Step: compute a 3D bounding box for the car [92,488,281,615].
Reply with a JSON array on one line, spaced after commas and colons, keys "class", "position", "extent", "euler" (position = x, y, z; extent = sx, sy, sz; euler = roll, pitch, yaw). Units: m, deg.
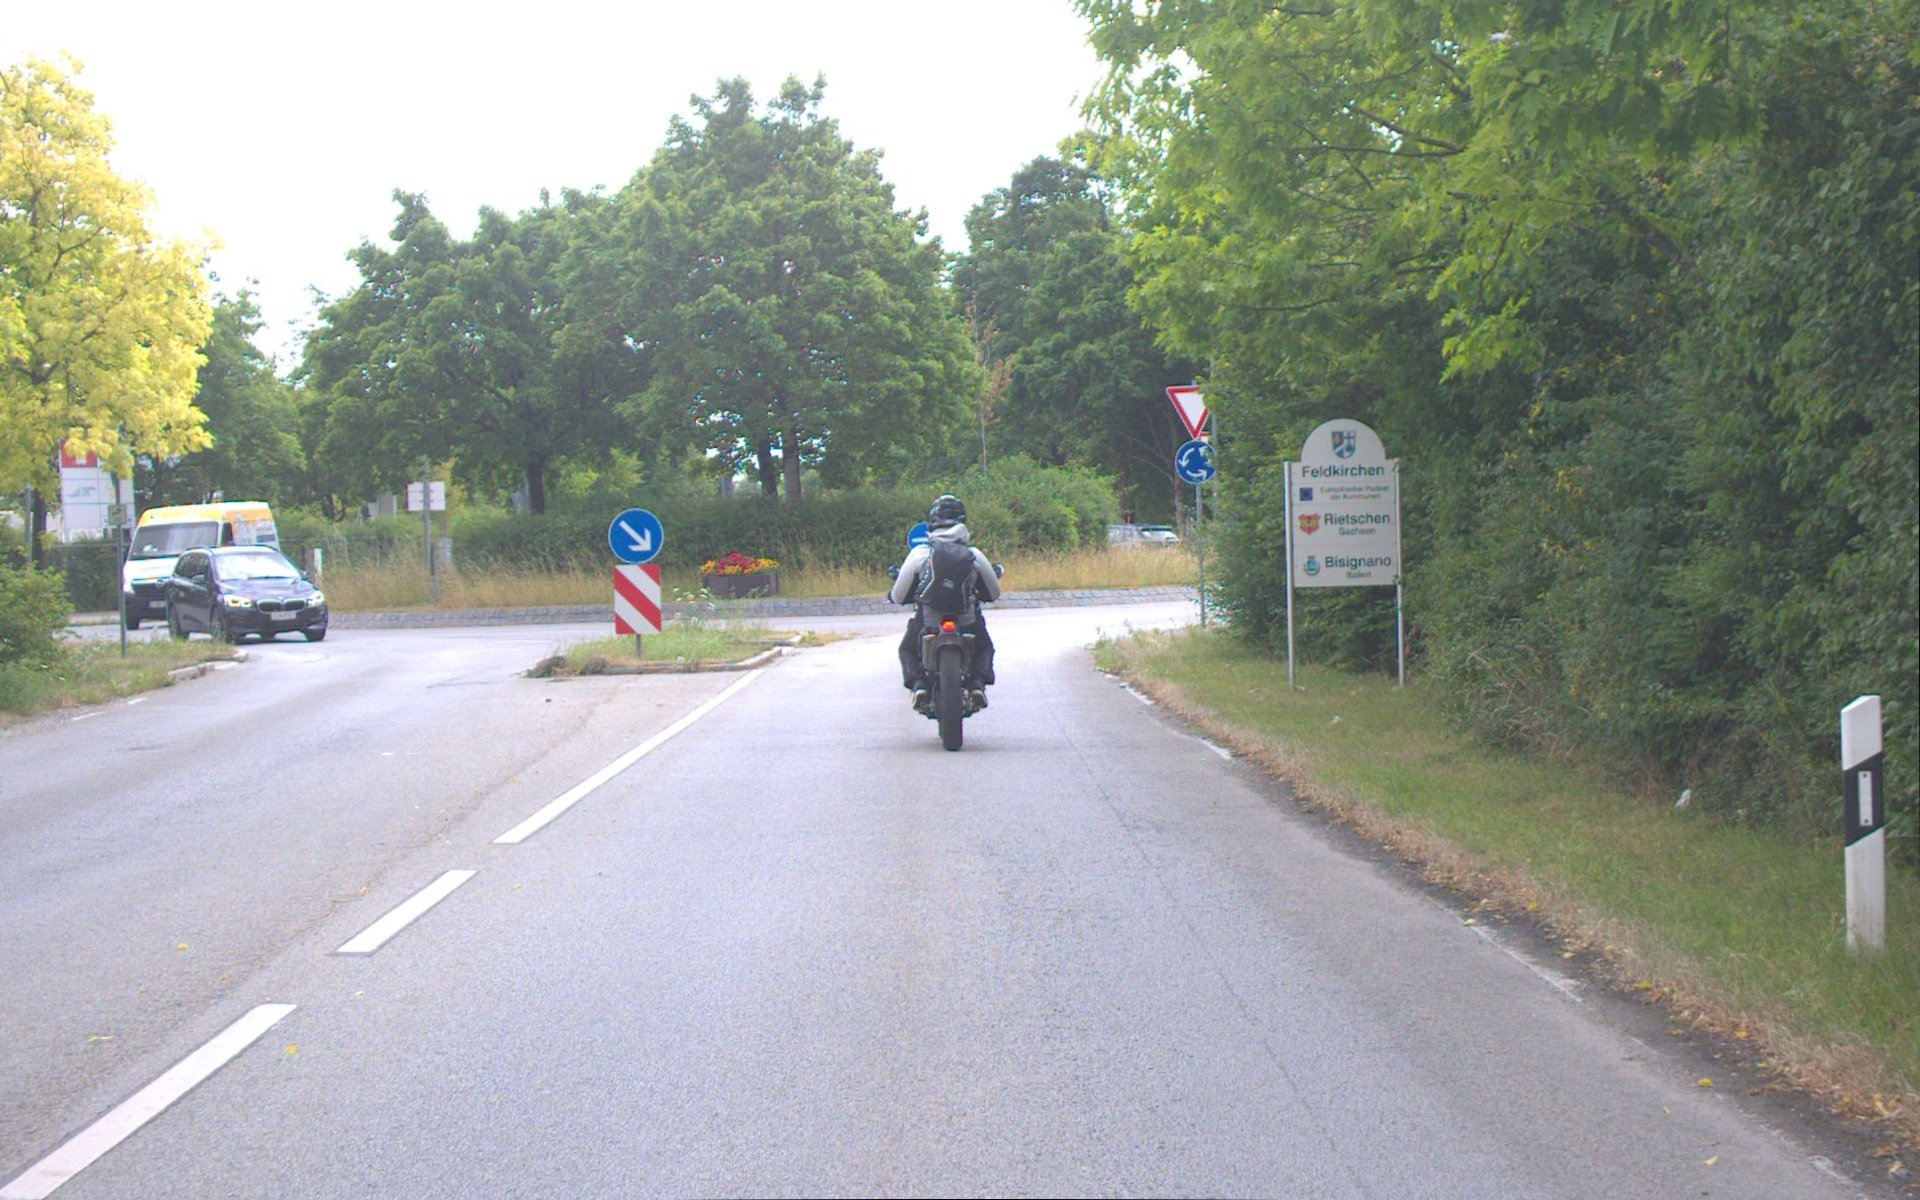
[{"class": "car", "position": [-15.789, -1.027, 70.477], "extent": [2.162, 2.443, 5.441], "euler": [-1, 1, 5]}]

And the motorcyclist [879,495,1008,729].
[{"class": "motorcyclist", "position": [-0.128, 0.072, 24.534], "extent": [0.861, 1.618, 1.191], "euler": [-1, 1, -2]}]

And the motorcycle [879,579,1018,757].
[{"class": "motorcycle", "position": [-0.107, 0.451, 24.471], "extent": [0.896, 1.154, 2.620], "euler": [-1, 1, -2]}]

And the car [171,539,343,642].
[{"class": "car", "position": [-11.853, -0.160, 57.754], "extent": [1.738, 1.580, 4.356], "euler": [-3, 1, -26]}]
